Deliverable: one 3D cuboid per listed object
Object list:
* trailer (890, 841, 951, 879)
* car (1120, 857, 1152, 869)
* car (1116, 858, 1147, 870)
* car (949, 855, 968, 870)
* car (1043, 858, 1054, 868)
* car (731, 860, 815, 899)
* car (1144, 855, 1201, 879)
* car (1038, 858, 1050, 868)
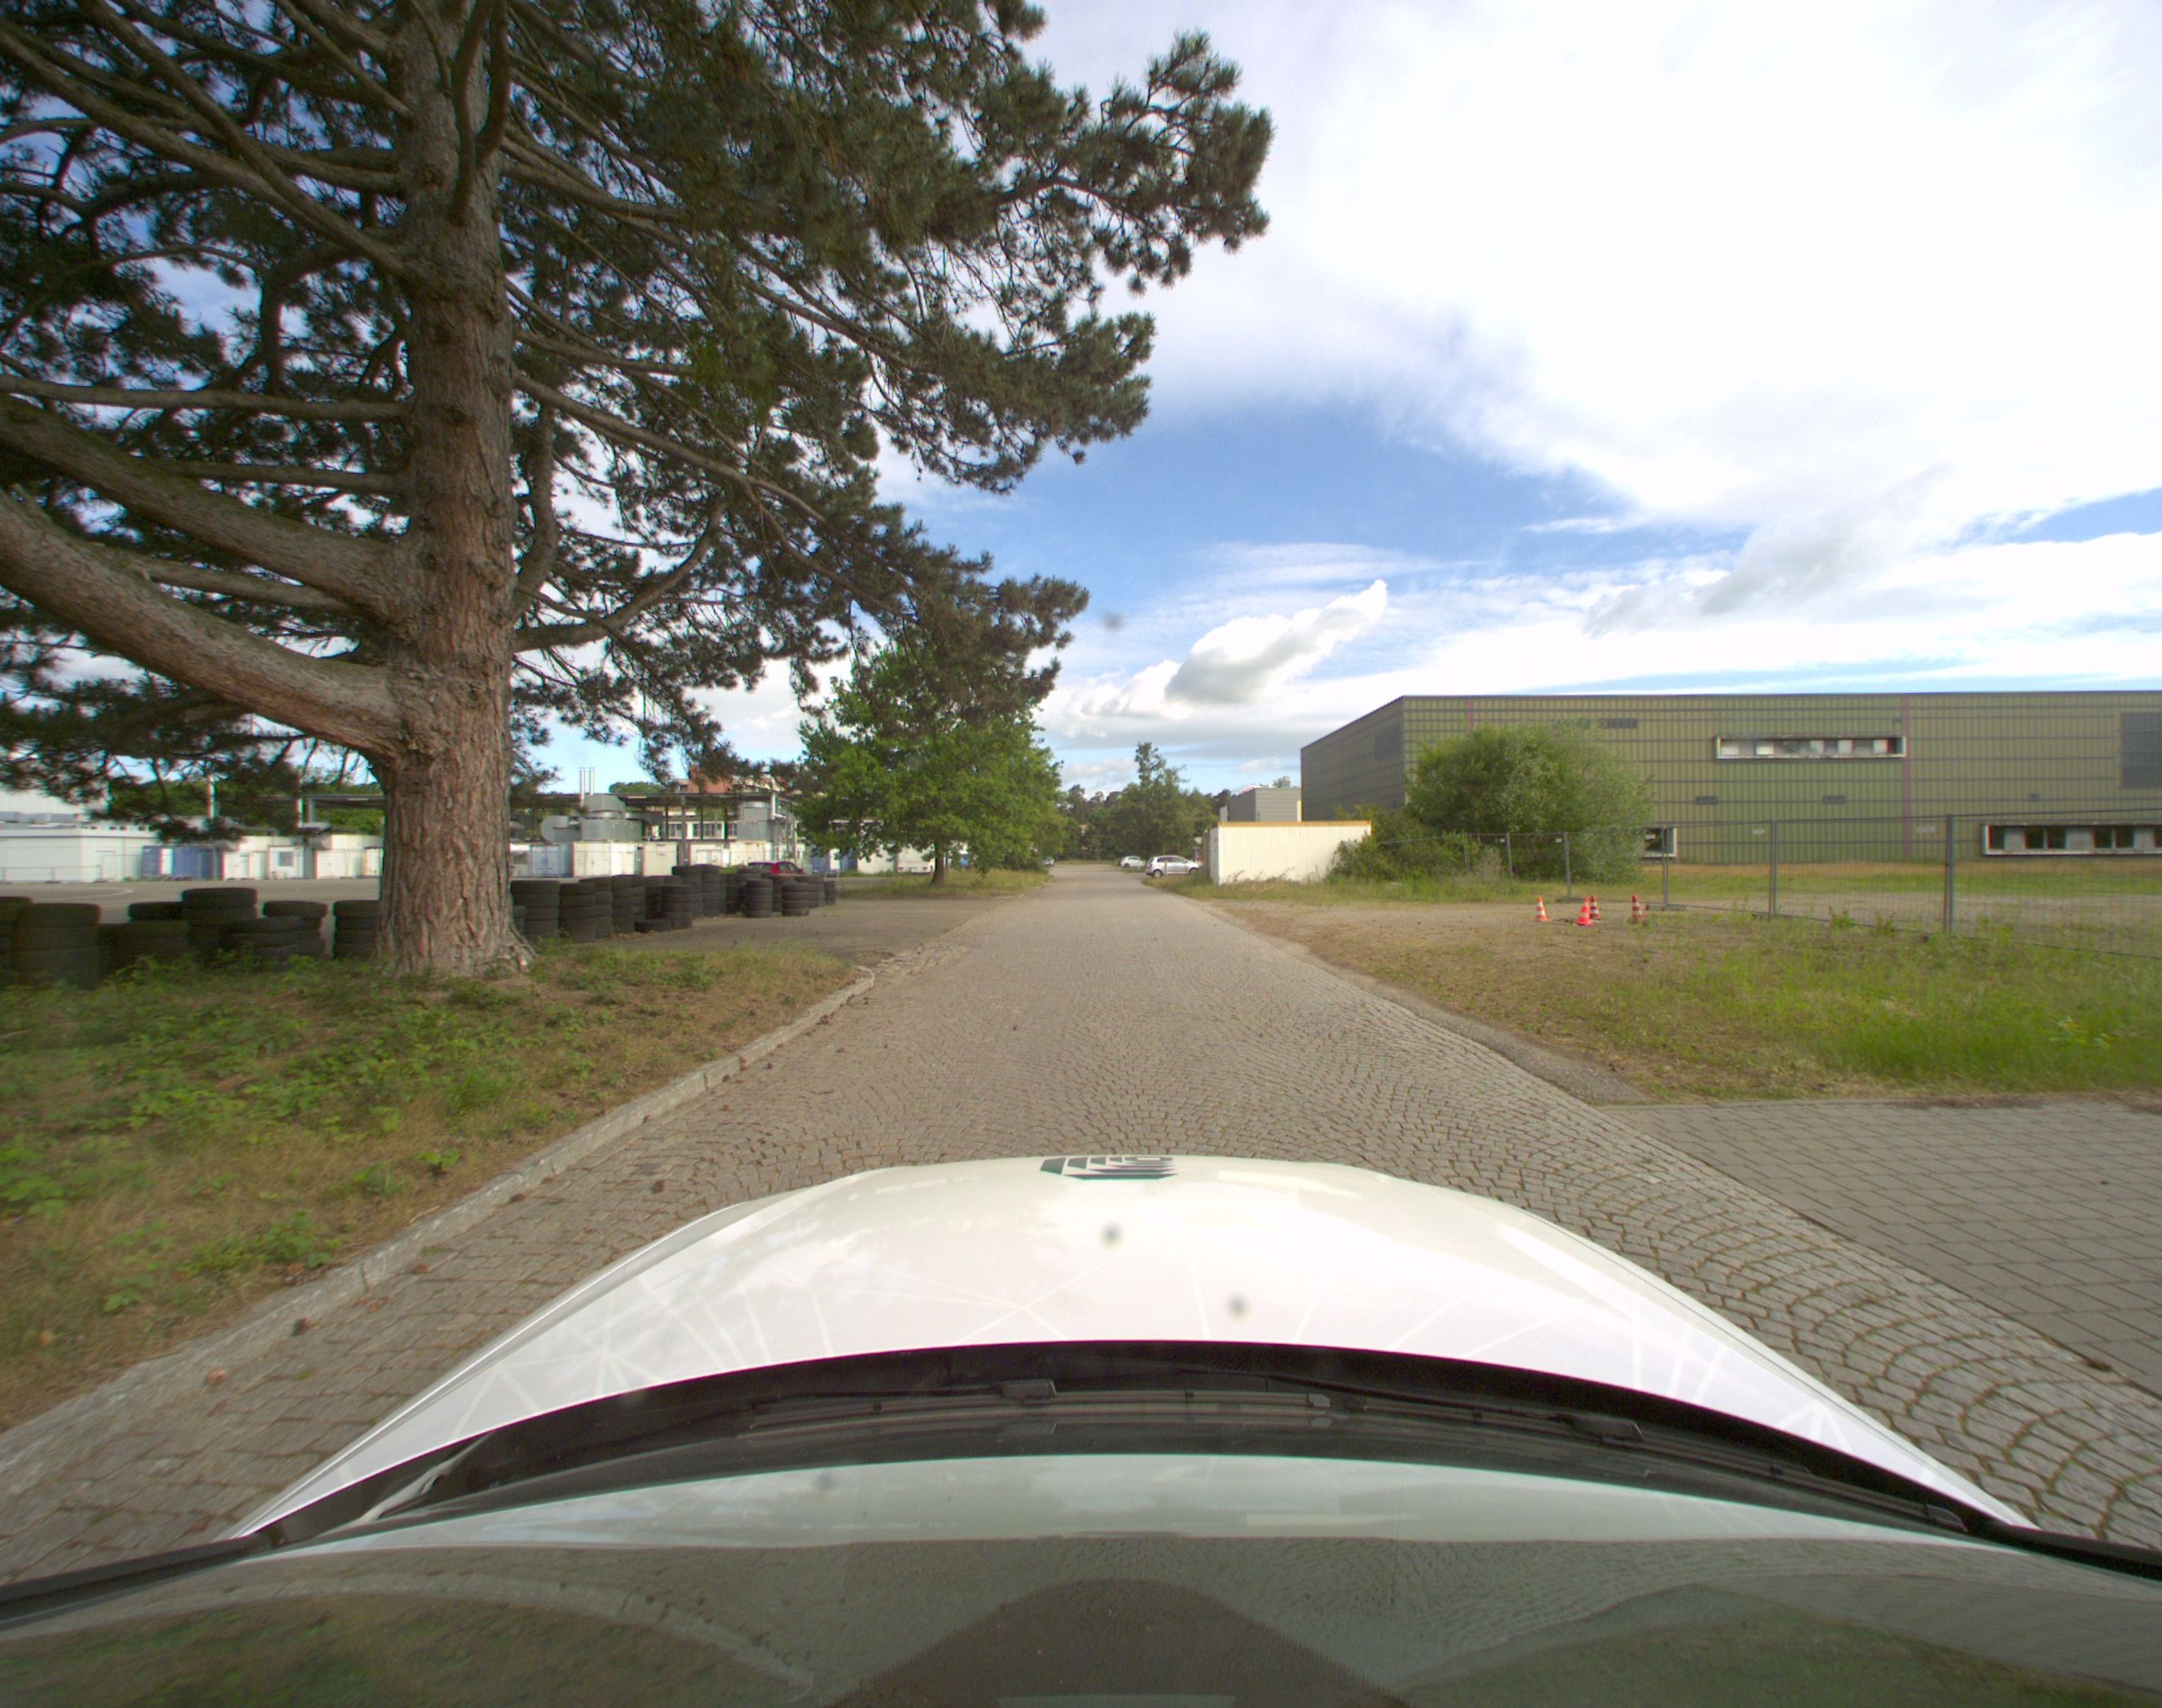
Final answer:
[{"bbox_3d":[-13.727,0.521,70.383,3.146,3.067,8.789,0,0,2],"label":"trailer"},{"bbox_3d":[7.044,1.145,103.933,4.011,1.502,1.548,-1,-1,1],"label":"car"},{"bbox_3d":[6.769,1.299,109.485,3.977,1.601,1.727,0,-1,-3],"label":"car"},{"bbox_3d":[-16.667,1.142,110.884,1.920,2.047,4.596,0,0,-2],"label":"car"},{"bbox_3d":[-5.311,1.407,132.295,1.799,1.535,3.997,0,0,-2],"label":"car"},{"bbox_3d":[-12.372,1.001,32.934,1.758,1.453,3.494,-1,0,6],"label":"car"},{"bbox_3d":[6.444,0.904,57.784,3.840,1.654,1.685,0,-1,-3],"label":"car"},{"bbox_3d":[-5.503,1.371,122.938,1.730,1.469,4.042,0,0,-2],"label":"car"}]
